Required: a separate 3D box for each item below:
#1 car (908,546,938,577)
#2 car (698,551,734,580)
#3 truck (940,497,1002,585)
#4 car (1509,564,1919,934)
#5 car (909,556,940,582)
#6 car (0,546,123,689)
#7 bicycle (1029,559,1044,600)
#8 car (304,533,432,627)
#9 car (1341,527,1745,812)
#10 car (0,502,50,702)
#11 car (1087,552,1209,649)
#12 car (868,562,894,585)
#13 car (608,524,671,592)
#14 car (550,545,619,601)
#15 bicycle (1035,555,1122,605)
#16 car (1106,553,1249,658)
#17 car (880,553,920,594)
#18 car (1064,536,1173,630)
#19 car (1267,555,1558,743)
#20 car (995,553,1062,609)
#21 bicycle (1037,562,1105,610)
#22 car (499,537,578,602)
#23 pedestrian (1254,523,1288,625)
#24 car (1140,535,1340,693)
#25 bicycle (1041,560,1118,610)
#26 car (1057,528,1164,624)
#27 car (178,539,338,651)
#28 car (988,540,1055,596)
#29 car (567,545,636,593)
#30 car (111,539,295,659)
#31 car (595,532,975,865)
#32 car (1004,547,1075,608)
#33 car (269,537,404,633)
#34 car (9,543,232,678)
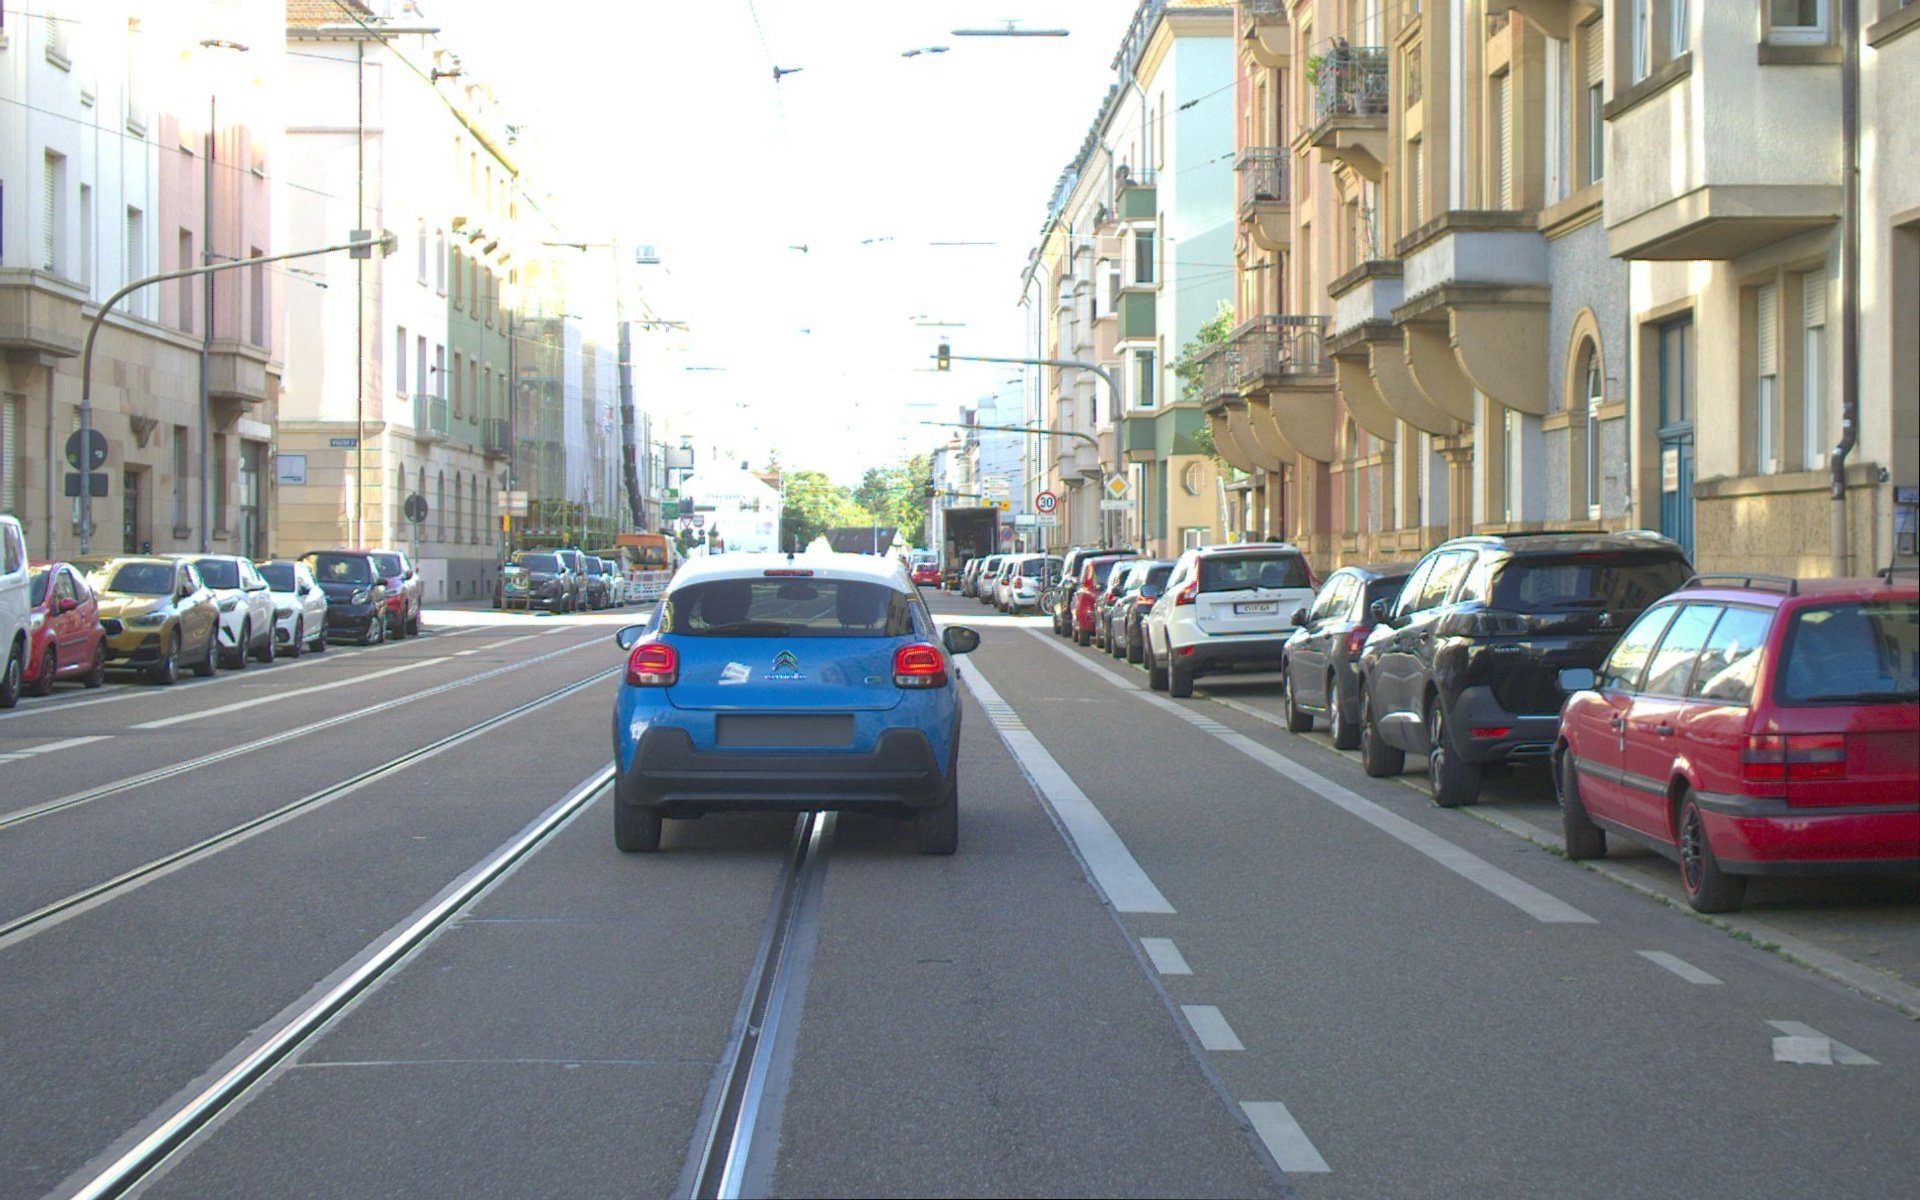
[{"bbox_3d":[-2.752,-2.855,257.066,2.220,2.276,4.084,0,1,-1],"label":"car"},{"bbox_3d":[-13.862,-1.958,195.295,1.826,1.626,3.905,0,1,-1],"label":"car"},{"bbox_3d":[0.499,-2.820,164.882,2.853,4.069,11.271,0,1,0],"label":"truck"},{"bbox_3d":[3.928,0.570,16.031,1.859,1.450,4.710,0,1,-2],"label":"car"},{"bbox_3d":[-2.029,-1.789,198.029,1.765,1.481,4.032,0,1,-1],"label":"car"},{"bbox_3d":[-10.534,0.149,38.182,1.602,1.467,3.646,2,1,-1],"label":"car"},{"bbox_3d":[1.986,-0.534,89.105,0.353,1.041,1.728,0,1,1],"label":"bicycle"},{"bbox_3d":[-10.843,-0.393,63.212,1.783,1.601,4.398,2,1,-3],"label":"car"},{"bbox_3d":[3.659,0.375,22.361,1.859,1.660,4.562,0,1,0],"label":"car"},{"bbox_3d":[-10.280,0.002,32.693,1.973,1.942,5.252,2,1,-2],"label":"car"},{"bbox_3d":[3.019,-0.029,55.847,1.654,1.508,4.474,0,1,-1],"label":"car"},{"bbox_3d":[-5.782,-1.926,251.238,1.826,1.626,4.490,0,1,-1],"label":"car"},{"bbox_3d":[-11.983,-1.585,128.754,2.144,2.467,4.981,1,1,-3],"label":"car"},{"bbox_3d":[-11.508,-0.843,105.545,1.783,1.621,4.610,2,1,-3],"label":"car"},{"bbox_3d":[2.961,-0.497,86.134,2.086,1.150,0.848,-3,1,0],"label":"bicycle"},{"bbox_3d":[3.155,0.048,50.636,1.654,1.478,4.475,0,1,-2],"label":"car"},{"bbox_3d":[-2.838,-1.264,162.217,1.821,1.888,4.000,1,1,-1],"label":"car"},{"bbox_3d":[2.753,-0.316,60.430,1.753,1.589,3.730,0,1,0],"label":"car"},{"bbox_3d":[3.652,0.350,28.392,1.737,1.437,4.033,0,1,-2],"label":"car"},{"bbox_3d":[1.967,-0.566,99.562,1.783,1.570,4.326,0,1,-1],"label":"car"},{"bbox_3d":[2.931,-0.376,90.853,1.722,1.150,0.469,-3,1,0],"label":"bicycle"},{"bbox_3d":[-11.479,-0.851,93.905,1.783,1.684,4.668,2,1,-3],"label":"car"},{"bbox_3d":[5.154,-0.439,56.977,0.513,1.681,0.448,0,1,-1],"label":"pedestrian"},{"bbox_3d":[3.118,0.118,39.092,1.843,1.685,4.505,0,1,-1],"label":"car"},{"bbox_3d":[3.016,-0.371,86.853,1.842,1.150,0.469,-3,1,0],"label":"bicycle"},{"bbox_3d":[2.889,-0.482,66.866,1.753,1.730,4.507,-3,1,-1],"label":"car"},{"bbox_3d":[-10.824,-0.109,53.267,1.783,1.616,4.180,2,1,-3],"label":"car"},{"bbox_3d":[1.966,-1.032,110.695,1.654,1.746,4.604,0,1,-5],"label":"car"},{"bbox_3d":[-11.630,-1.018,111.698,1.718,1.497,4.388,2,1,0],"label":"car"},{"bbox_3d":[-10.524,-0.044,48.053,1.771,1.541,4.366,2,1,-3],"label":"car"},{"bbox_3d":[-0.853,0.434,18.141,1.735,1.502,3.993,2,1,-1],"label":"car"},{"bbox_3d":[2.153,-0.637,93.997,1.783,1.626,4.000,0,1,-1],"label":"car"},{"bbox_3d":[-10.666,-0.270,58.975,1.783,1.547,3.019,2,1,-1],"label":"car"},{"bbox_3d":[-10.291,0.088,42.439,1.783,1.518,4.360,2,1,-2],"label":"car"}]
